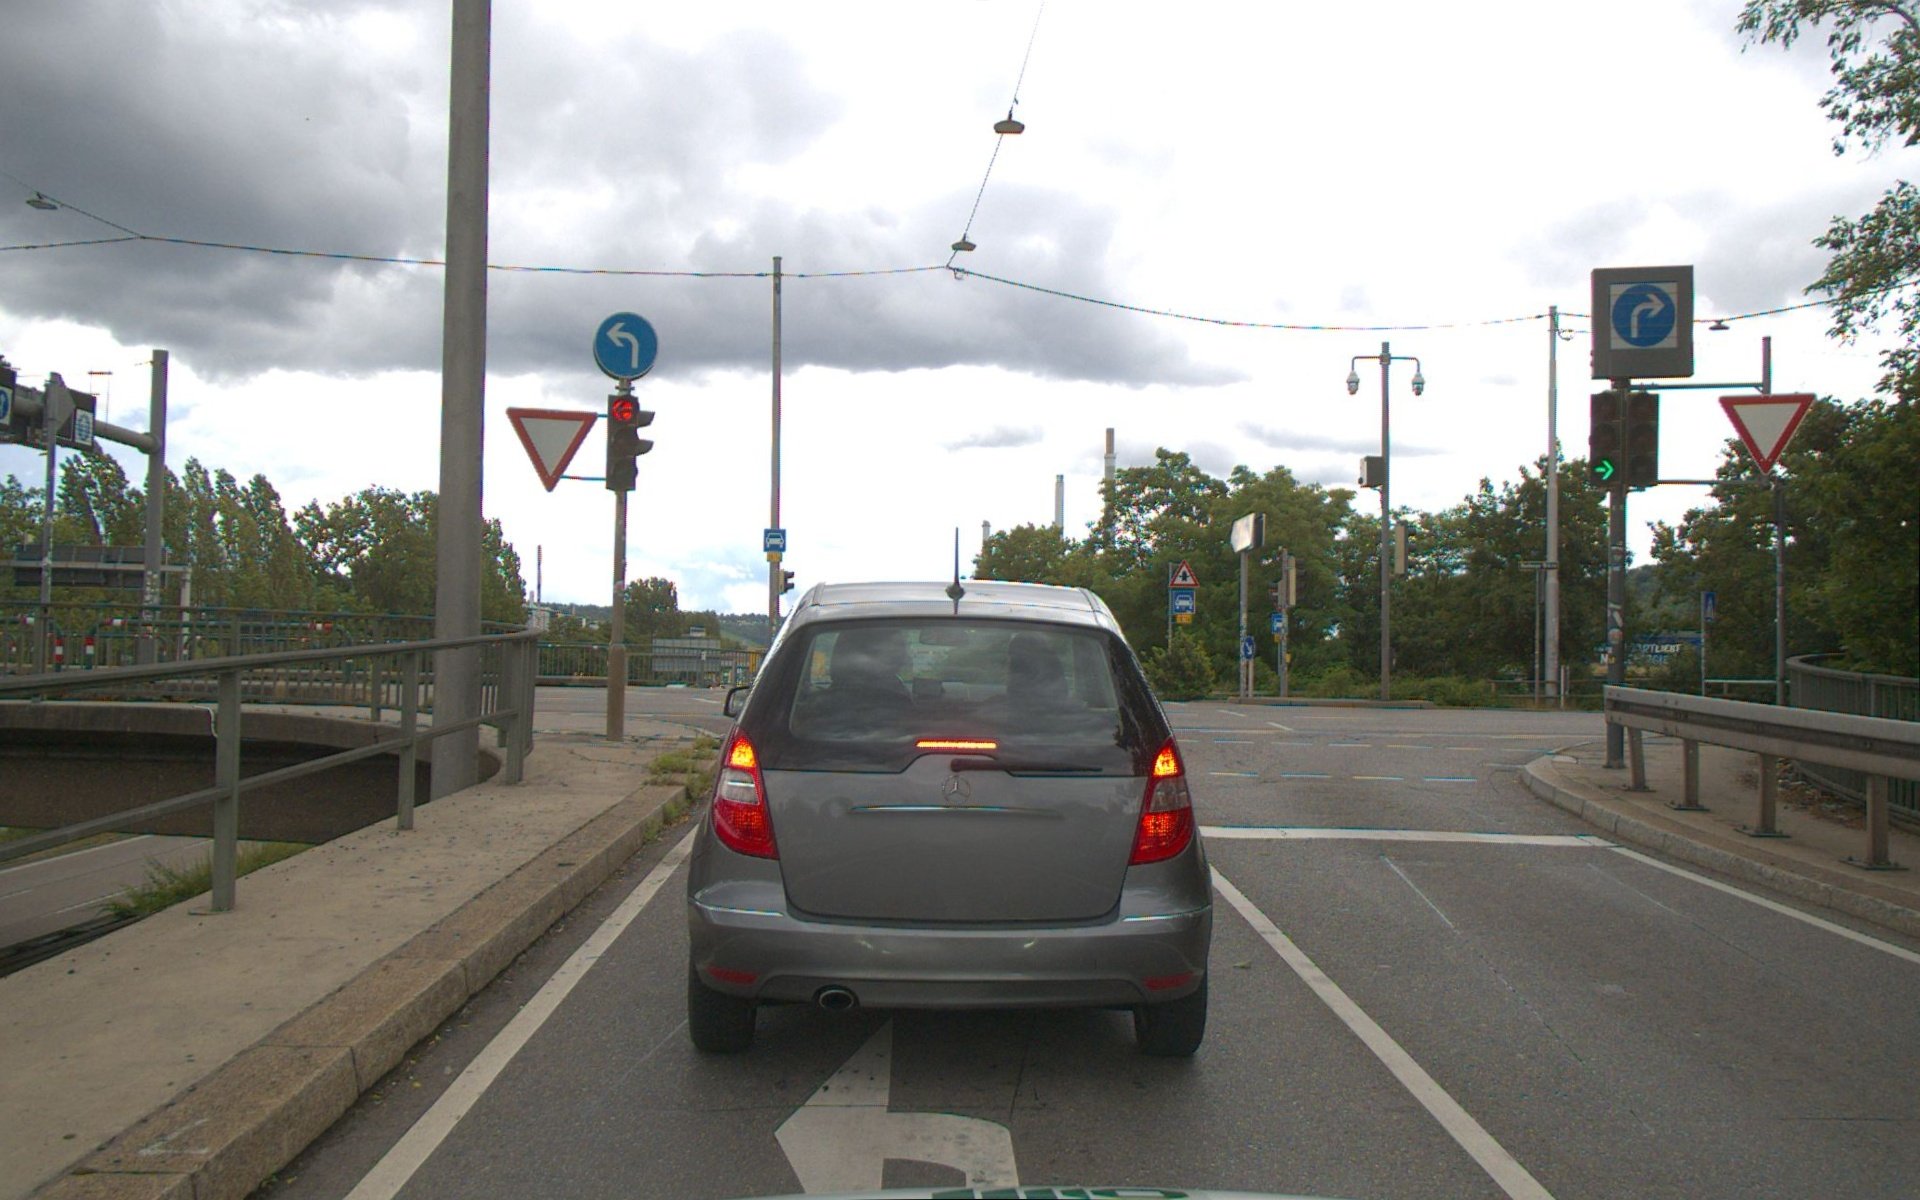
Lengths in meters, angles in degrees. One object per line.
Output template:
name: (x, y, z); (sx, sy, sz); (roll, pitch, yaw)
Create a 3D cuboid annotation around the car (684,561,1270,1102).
car: (0.035, 0.691, 6.649); (1.704, 1.570, 3.540); (1, 0, -1)
